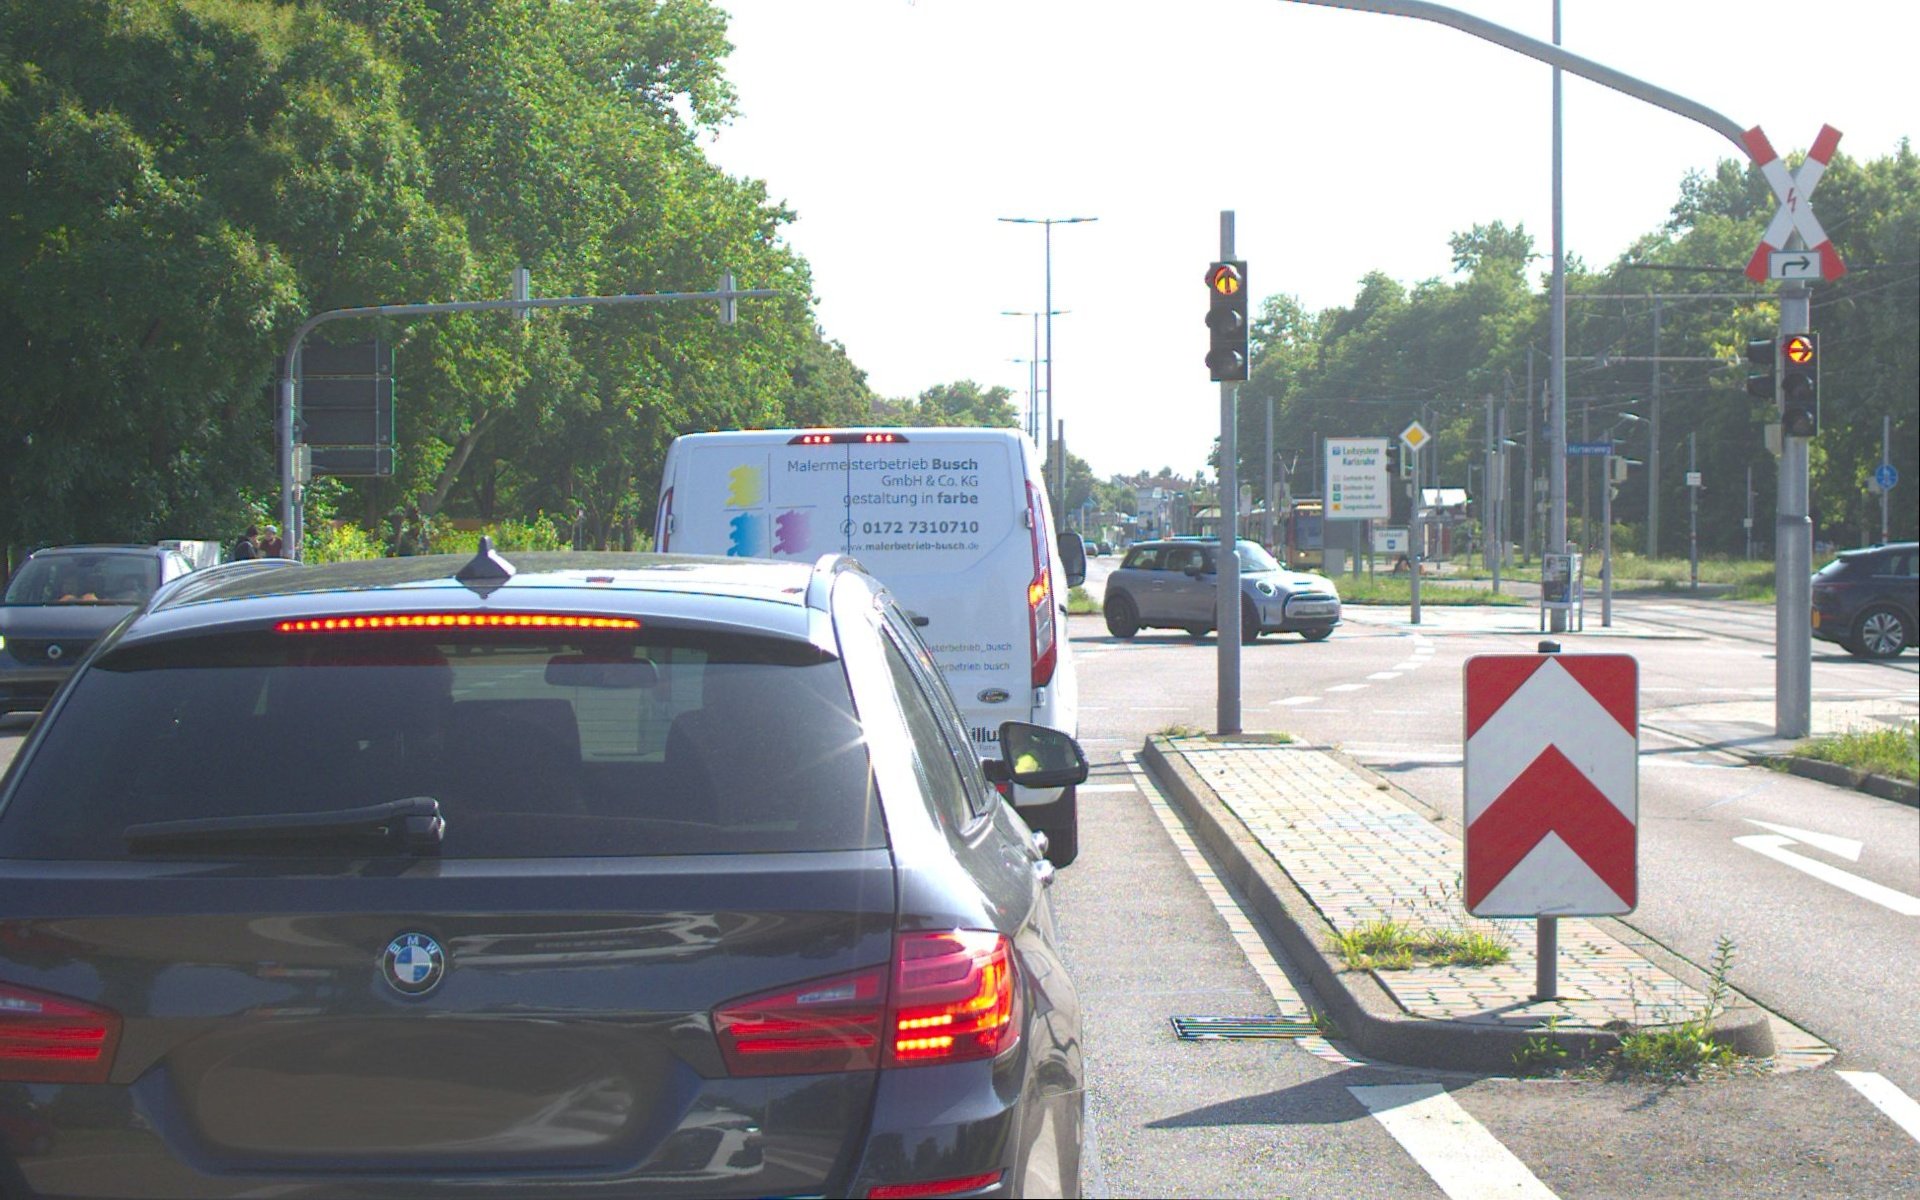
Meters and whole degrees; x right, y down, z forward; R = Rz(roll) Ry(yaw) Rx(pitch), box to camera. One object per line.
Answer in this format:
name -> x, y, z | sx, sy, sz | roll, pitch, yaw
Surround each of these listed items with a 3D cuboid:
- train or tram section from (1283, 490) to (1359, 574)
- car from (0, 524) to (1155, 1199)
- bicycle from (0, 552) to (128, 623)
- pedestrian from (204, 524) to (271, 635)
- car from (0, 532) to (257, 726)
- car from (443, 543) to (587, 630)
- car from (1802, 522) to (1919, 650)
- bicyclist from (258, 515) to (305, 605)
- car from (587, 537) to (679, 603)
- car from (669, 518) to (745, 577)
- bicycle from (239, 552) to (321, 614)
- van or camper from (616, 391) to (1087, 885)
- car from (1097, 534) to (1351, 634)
train or tram section -> 16.337, -3.014, 156.356 | 2.796, 3.606, 12.954 | 1, 1, 3
car -> -0.718, 0.614, 6.457 | 1.903, 1.500, 4.065 | 0, 1, 0
bicycle -> -14.260, -0.199, 54.665 | 1.909, 1.115, 0.632 | 0, 1, 0
pedestrian -> -11.474, -0.339, 54.627 | 0.816, 1.746, 0.931 | 0, 1, 5
car -> -7.394, 0.206, 30.065 | 1.633, 1.555, 3.676 | -2, 1, 1
car -> -7.510, -0.249, 58.395 | 1.779, 1.410, 4.245 | 0, 1, 2
car -> 14.030, -0.175, 47.175 | 4.608, 1.716, 1.649 | 1, 1, 7
bicyclist -> -11.771, -0.701, 59.651 | 0.607, 1.555, 0.602 | 0, 1, 12
car -> -7.692, -0.733, 81.187 | 1.702, 1.460, 4.370 | -2, 1, 0
car -> -7.012, -1.462, 95.674 | 1.745, 1.556, 4.000 | -2, 1, 0
bicycle -> -11.777, -0.308, 59.608 | 0.620, 1.037, 2.071 | 0, 1, 12
van or camper -> -0.423, 0.116, 16.845 | 1.993, 2.089, 4.598 | 0, 1, 1
car -> 3.760, -0.261, 49.397 | 1.602, 1.379, 3.528 | -1, 1, -41
